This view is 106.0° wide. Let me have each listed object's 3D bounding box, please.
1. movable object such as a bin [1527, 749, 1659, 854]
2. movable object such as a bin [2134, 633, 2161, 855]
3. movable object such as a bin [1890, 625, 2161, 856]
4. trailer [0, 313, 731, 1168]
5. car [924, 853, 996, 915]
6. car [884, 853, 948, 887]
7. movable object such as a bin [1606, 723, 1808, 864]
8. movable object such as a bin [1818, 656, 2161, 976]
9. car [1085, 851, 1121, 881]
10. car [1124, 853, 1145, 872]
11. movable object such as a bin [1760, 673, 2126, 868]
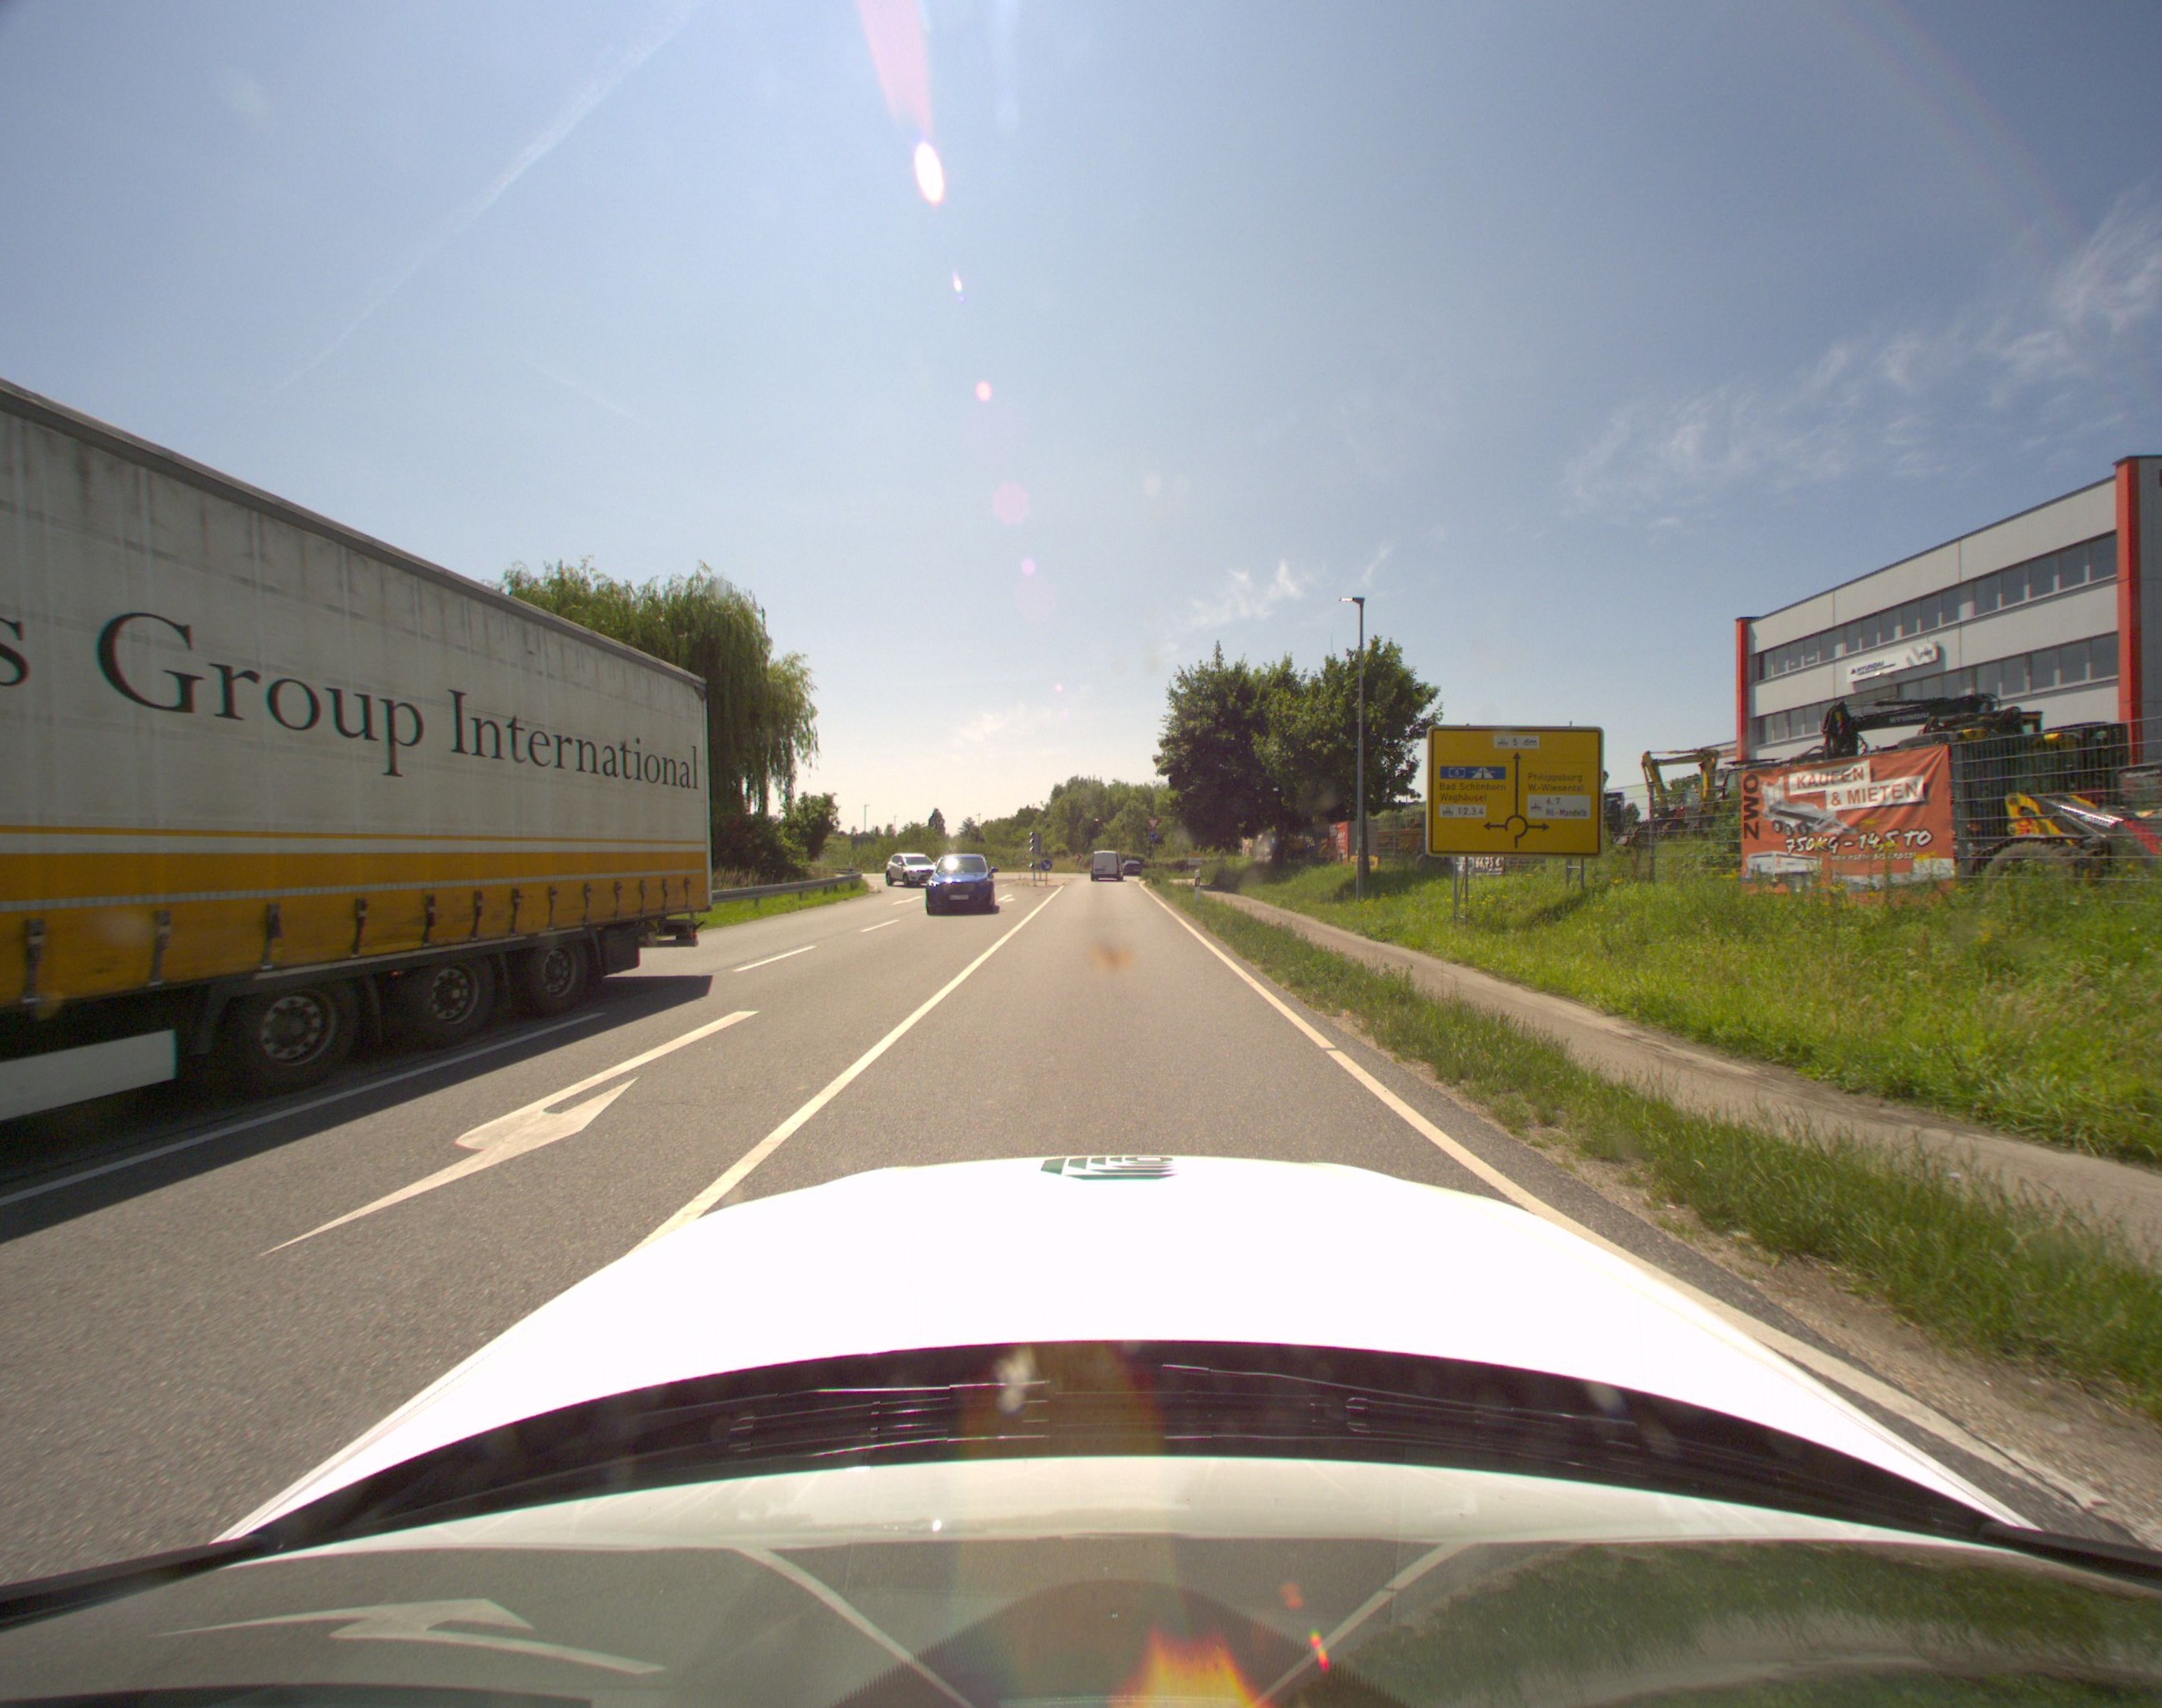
[{"bbox_3d":[26.254,-2.646,41.957,5.061,5.055,2.781,1,-2,4],"label":"movable object such as a bin"},{"bbox_3d":[23.217,-2.092,14.476,5.061,4.275,2.838,1,-2,4],"label":"movable object such as a bin"},{"bbox_3d":[24.541,-2.626,20.105,5.891,5.105,3.112,1,-2,4],"label":"movable object such as a bin"},{"bbox_3d":[-6.508,-0.565,4.632,2.779,4.056,13.508,2,1,2],"label":"trailer"},{"bbox_3d":[-3.529,0.783,23.537,1.847,1.567,3.987,-2,0,-10],"label":"car"},{"bbox_3d":[-8.554,0.771,41.936,1.914,1.659,3.959,0,0,-33],"label":"car"},{"bbox_3d":[25.110,-2.347,32.957,5.690,5.270,3.225,1,-2,4],"label":"movable object such as a bin"},{"bbox_3d":[12.190,-0.322,9.719,2.314,3.250,5.103,2,-2,2],"label":"movable object such as a bin"},{"bbox_3d":[1.280,0.688,49.072,1.899,1.732,3.819,0,0,-2],"label":"car"},{"bbox_3d":[4.774,0.708,72.956,1.798,1.556,4.002,0,2,2],"label":"car"},{"bbox_3d":[24.904,-2.278,23.993,6.560,5.148,3.811,1,-2,4],"label":"movable object such as a bin"}]
